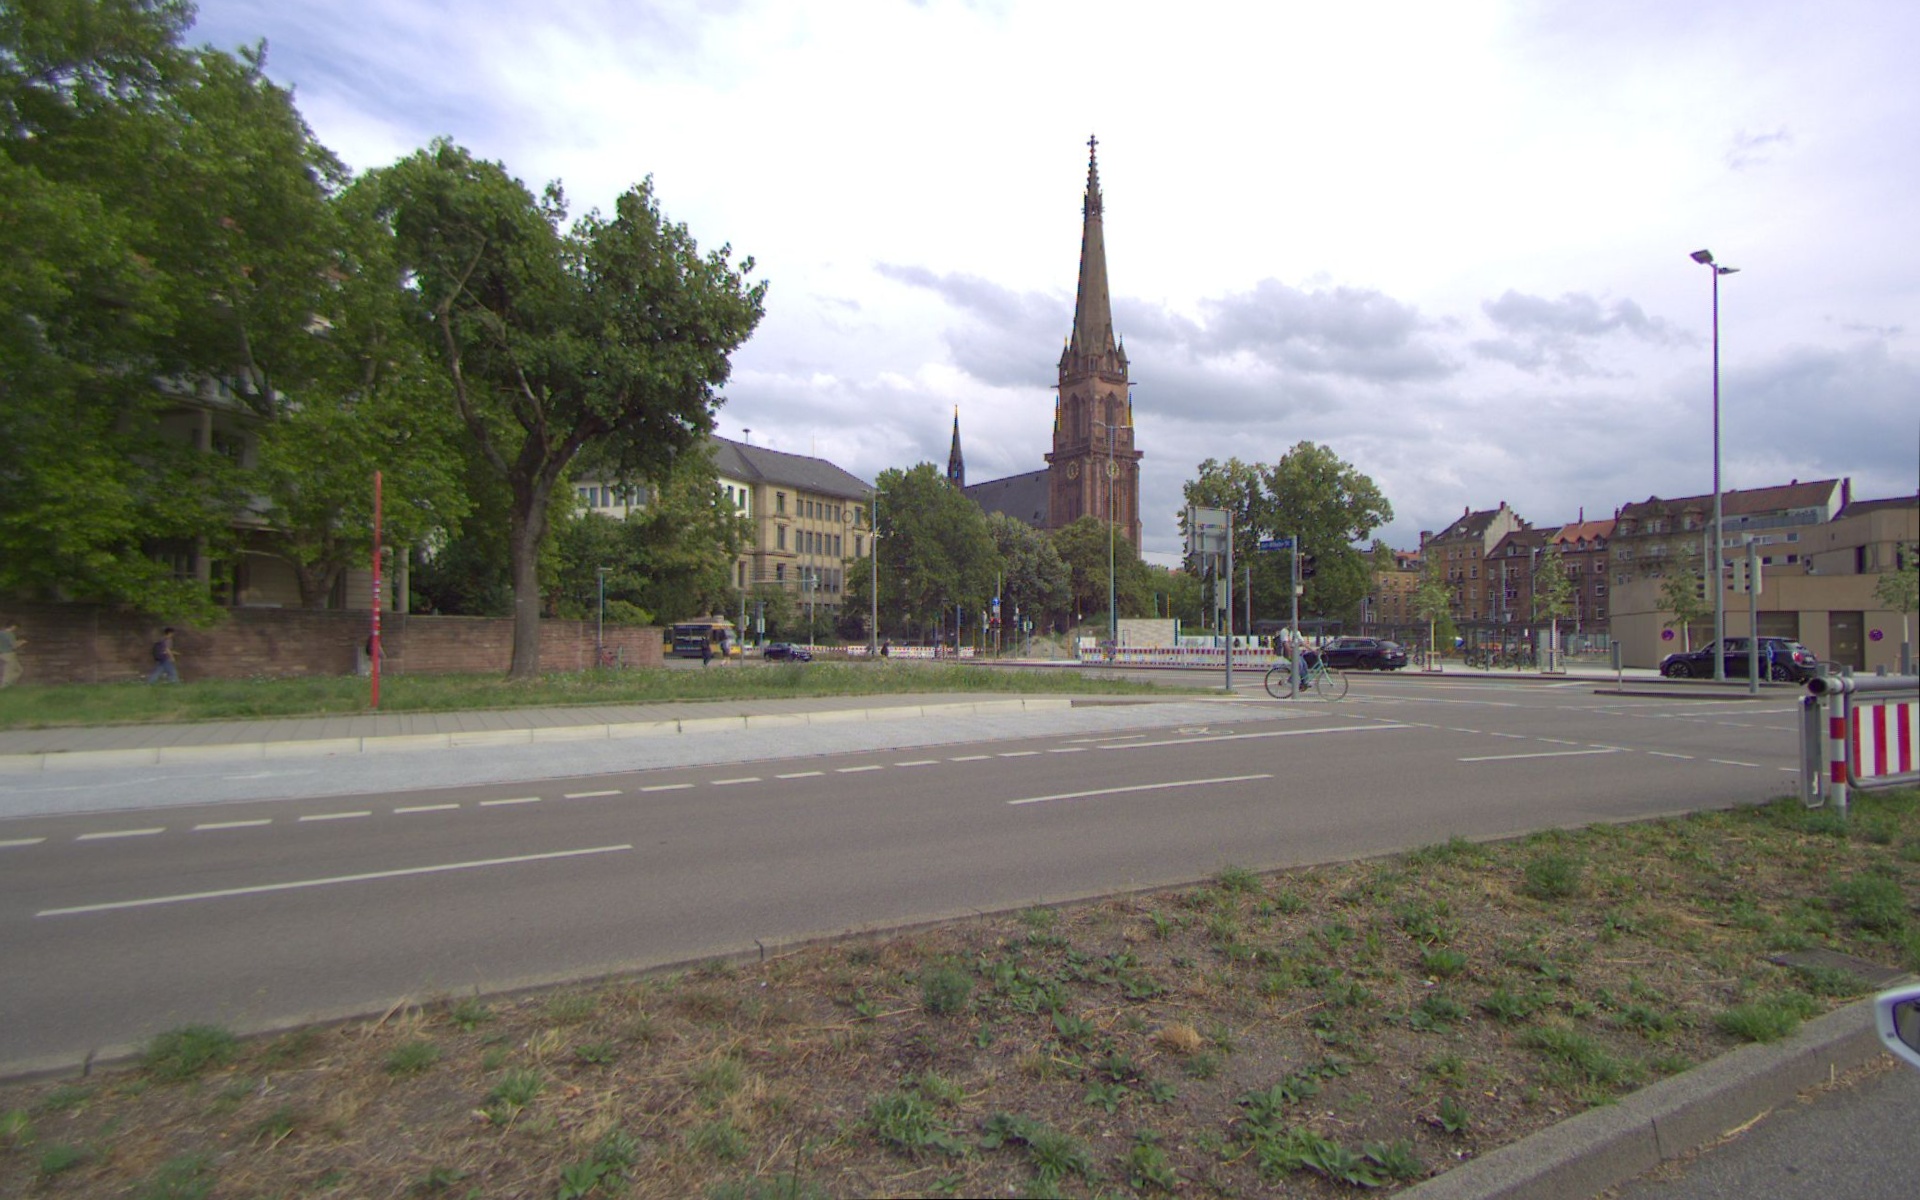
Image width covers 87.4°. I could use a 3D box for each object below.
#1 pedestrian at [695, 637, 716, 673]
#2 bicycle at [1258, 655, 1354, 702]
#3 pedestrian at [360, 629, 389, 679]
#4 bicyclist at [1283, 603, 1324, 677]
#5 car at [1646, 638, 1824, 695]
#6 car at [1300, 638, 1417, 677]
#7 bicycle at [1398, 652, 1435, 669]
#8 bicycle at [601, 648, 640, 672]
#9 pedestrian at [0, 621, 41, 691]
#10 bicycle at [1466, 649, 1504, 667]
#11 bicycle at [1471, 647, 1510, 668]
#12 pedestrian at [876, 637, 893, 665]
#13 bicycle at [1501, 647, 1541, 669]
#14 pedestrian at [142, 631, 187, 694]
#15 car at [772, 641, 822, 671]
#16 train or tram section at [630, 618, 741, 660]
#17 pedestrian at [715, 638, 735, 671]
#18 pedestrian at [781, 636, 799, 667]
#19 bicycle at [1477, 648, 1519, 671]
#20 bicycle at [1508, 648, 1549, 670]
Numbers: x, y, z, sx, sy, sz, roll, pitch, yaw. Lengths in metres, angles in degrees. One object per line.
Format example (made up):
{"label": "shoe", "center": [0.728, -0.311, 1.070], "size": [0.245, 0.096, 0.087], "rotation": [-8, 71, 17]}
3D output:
{"label": "pedestrian", "center": [-12.894, 2.783, 50.866], "size": [0.790, 1.734, 0.833], "rotation": [2, -1, -29]}
{"label": "bicycle", "center": [7.639, 1.726, 22.223], "size": [1.932, 0.948, 0.506], "rotation": [2, -2, 13]}
{"label": "pedestrian", "center": [-19.976, 1.825, 34.246], "size": [0.521, 1.676, 0.629], "rotation": [1, 0, 25]}
{"label": "bicyclist", "center": [7.615, 0.889, 22.296], "size": [0.782, 1.575, 0.580], "rotation": [2, -2, 13]}
{"label": "car", "center": [24.041, 2.025, 31.284], "size": [1.979, 1.506, 3.964], "rotation": [2, -1, -33]}
{"label": "car", "center": [16.772, 2.391, 42.429], "size": [1.978, 1.379, 4.236], "rotation": [2, -1, -32]}
{"label": "bicycle", "center": [27.464, 3.642, 60.473], "size": [1.927, 0.967, 0.584], "rotation": [1, 0, 18]}
{"label": "bicycle", "center": [-15.684, 2.748, 46.515], "size": [0.763, 1.018, 1.927], "rotation": [1, -1, 14]}
{"label": "pedestrian", "center": [-23.108, 1.351, 24.524], "size": [0.565, 1.676, 0.782], "rotation": [1, 0, 9]}
{"label": "bicycle", "center": [31.541, 3.471, 60.409], "size": [1.927, 0.983, 0.584], "rotation": [1, 0, 18]}
{"label": "bicycle", "center": [30.657, 3.320, 58.058], "size": [1.926, 1.171, 0.584], "rotation": [1, 0, 13]}
{"label": "pedestrian", "center": [-4.769, 3.243, 63.542], "size": [0.790, 1.734, 0.833], "rotation": [2, -1, -29]}
{"label": "bicycle", "center": [32.750, 3.389, 58.693], "size": [1.926, 1.171, 0.584], "rotation": [1, 0, 13]}
{"label": "pedestrian", "center": [-21.954, 1.713, 27.728], "size": [0.566, 1.676, 0.782], "rotation": [2, 0, -1]}
{"label": "car", "center": [-12.280, 4.207, 75.620], "size": [1.984, 2.040, 3.953], "rotation": [2, -1, -40]}
{"label": "train or tram section", "center": [-23.996, 3.378, 87.852], "size": [9.316, 3.289, 3.062], "rotation": [1, -1, 21]}
{"label": "pedestrian", "center": [-12.515, 2.887, 53.473], "size": [0.790, 1.734, 0.833], "rotation": [2, -1, -29]}
{"label": "pedestrian", "center": [-9.834, 2.988, 58.088], "size": [0.790, 1.734, 0.833], "rotation": [2, -1, -29]}
{"label": "bicycle", "center": [29.671, 3.258, 55.452], "size": [1.926, 1.171, 0.584], "rotation": [1, 0, 13]}
{"label": "bicycle", "center": [32.419, 3.360, 57.274], "size": [1.926, 1.171, 0.584], "rotation": [1, 0, 13]}
